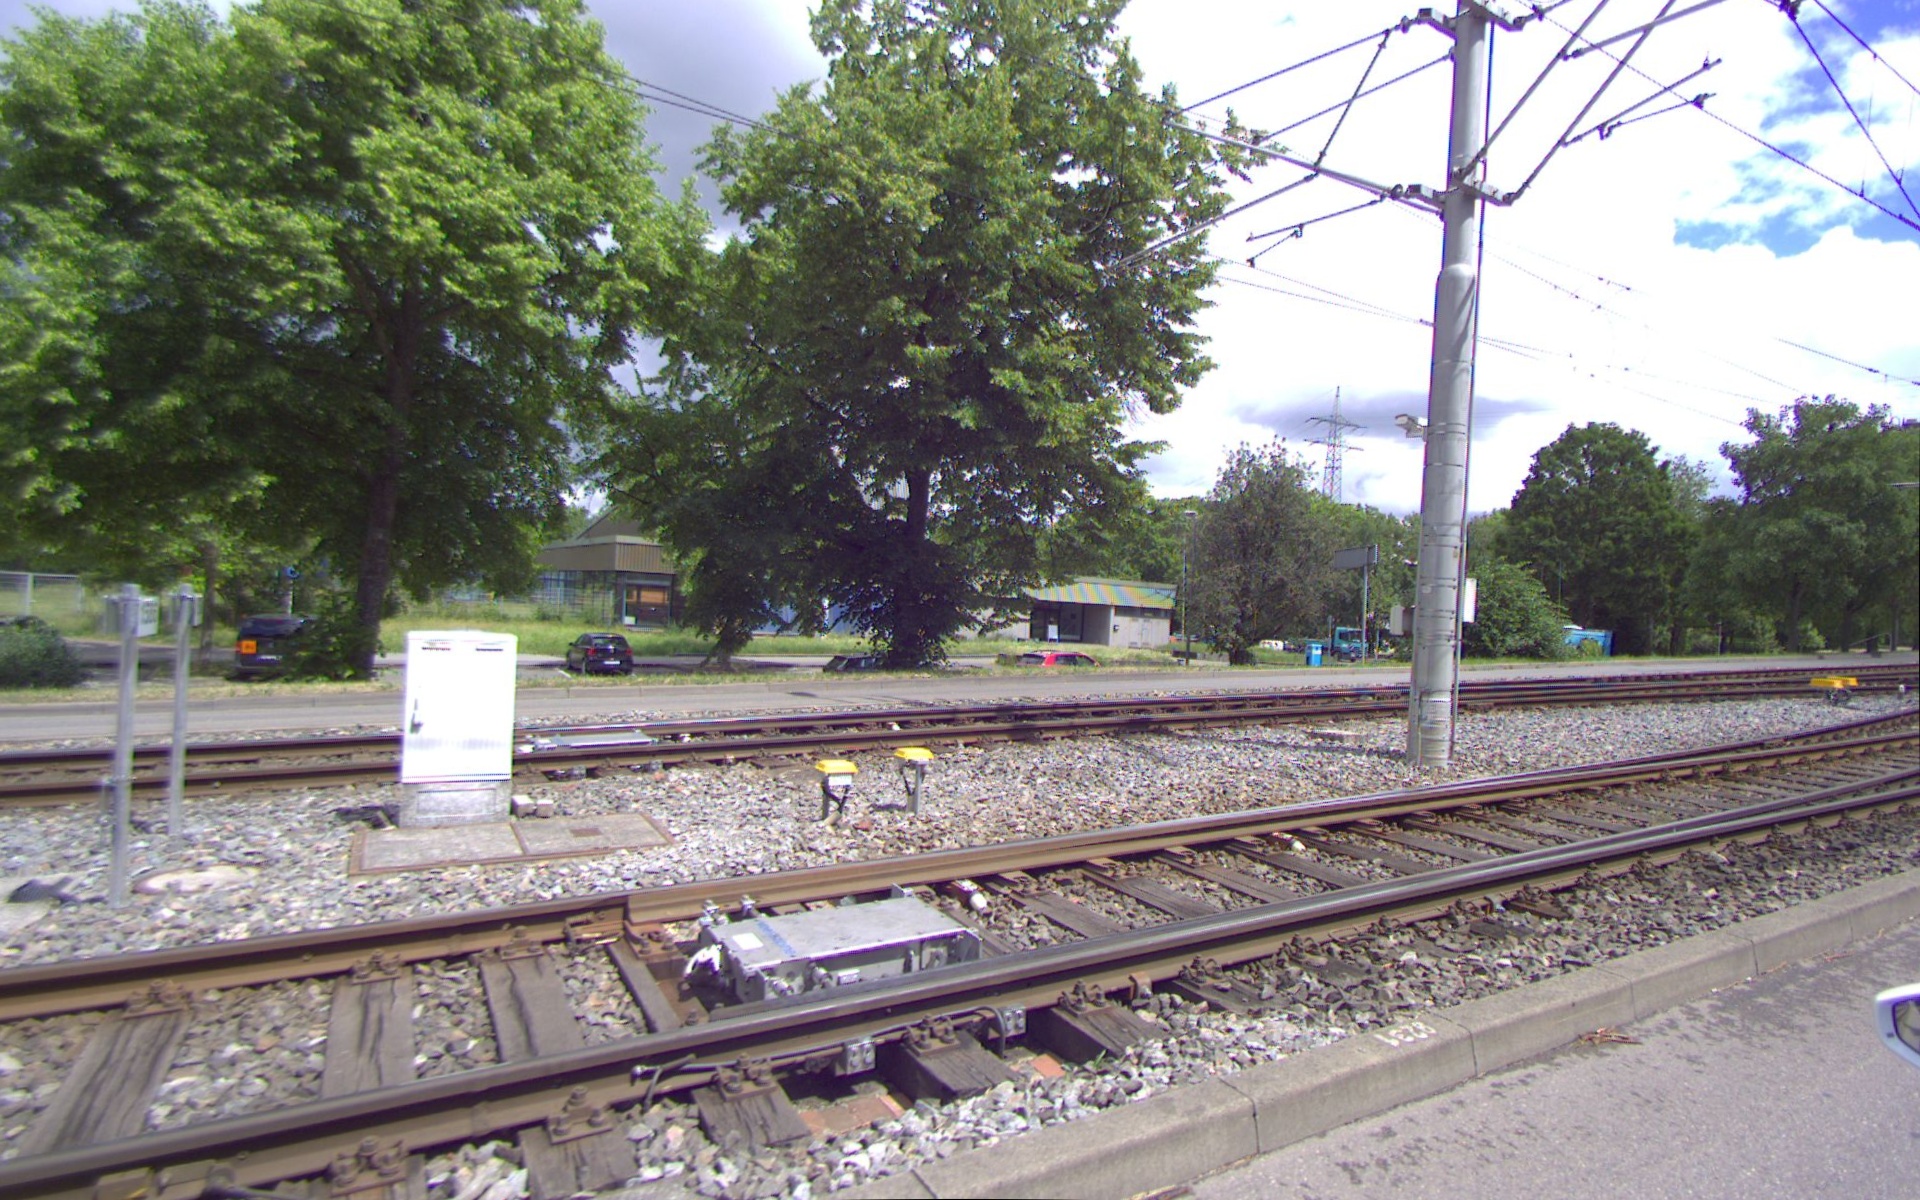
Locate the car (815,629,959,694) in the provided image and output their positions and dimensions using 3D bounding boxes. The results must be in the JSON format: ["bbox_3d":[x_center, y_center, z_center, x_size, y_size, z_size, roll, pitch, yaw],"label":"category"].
[{"bbox_3d":[-2.193,1.811,30.386,3.951,1.795,1.808,1,0,-29],"label":"car"}]

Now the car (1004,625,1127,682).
[{"bbox_3d":[3.662,1.787,34.588,3.956,1.795,1.806,1,0,-32],"label":"car"}]

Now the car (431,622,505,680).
[{"bbox_3d":[-16.616,1.679,34.067,1.831,1.620,3.980,2,1,-21],"label":"car"}]

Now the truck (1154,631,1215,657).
[{"bbox_3d":[20.667,4.026,92.749,1.979,2.207,5.794,1,-2,-33],"label":"truck"}]

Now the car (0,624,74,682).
[{"bbox_3d":[-26.516,1.409,27.659,1.968,1.269,4.072,1,2,-23],"label":"car"}]

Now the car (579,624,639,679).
[{"bbox_3d":[-12.697,1.812,36.175,1.832,1.620,3.978,2,1,-22],"label":"car"}]

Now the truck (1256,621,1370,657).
[{"bbox_3d":[27.946,3.038,79.969,2.585,2.731,9.046,1,-2,-30],"label":"truck"}]

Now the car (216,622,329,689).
[{"bbox_3d":[-20.476,1.618,30.080,1.922,1.659,3.589,2,1,-21],"label":"car"}]
